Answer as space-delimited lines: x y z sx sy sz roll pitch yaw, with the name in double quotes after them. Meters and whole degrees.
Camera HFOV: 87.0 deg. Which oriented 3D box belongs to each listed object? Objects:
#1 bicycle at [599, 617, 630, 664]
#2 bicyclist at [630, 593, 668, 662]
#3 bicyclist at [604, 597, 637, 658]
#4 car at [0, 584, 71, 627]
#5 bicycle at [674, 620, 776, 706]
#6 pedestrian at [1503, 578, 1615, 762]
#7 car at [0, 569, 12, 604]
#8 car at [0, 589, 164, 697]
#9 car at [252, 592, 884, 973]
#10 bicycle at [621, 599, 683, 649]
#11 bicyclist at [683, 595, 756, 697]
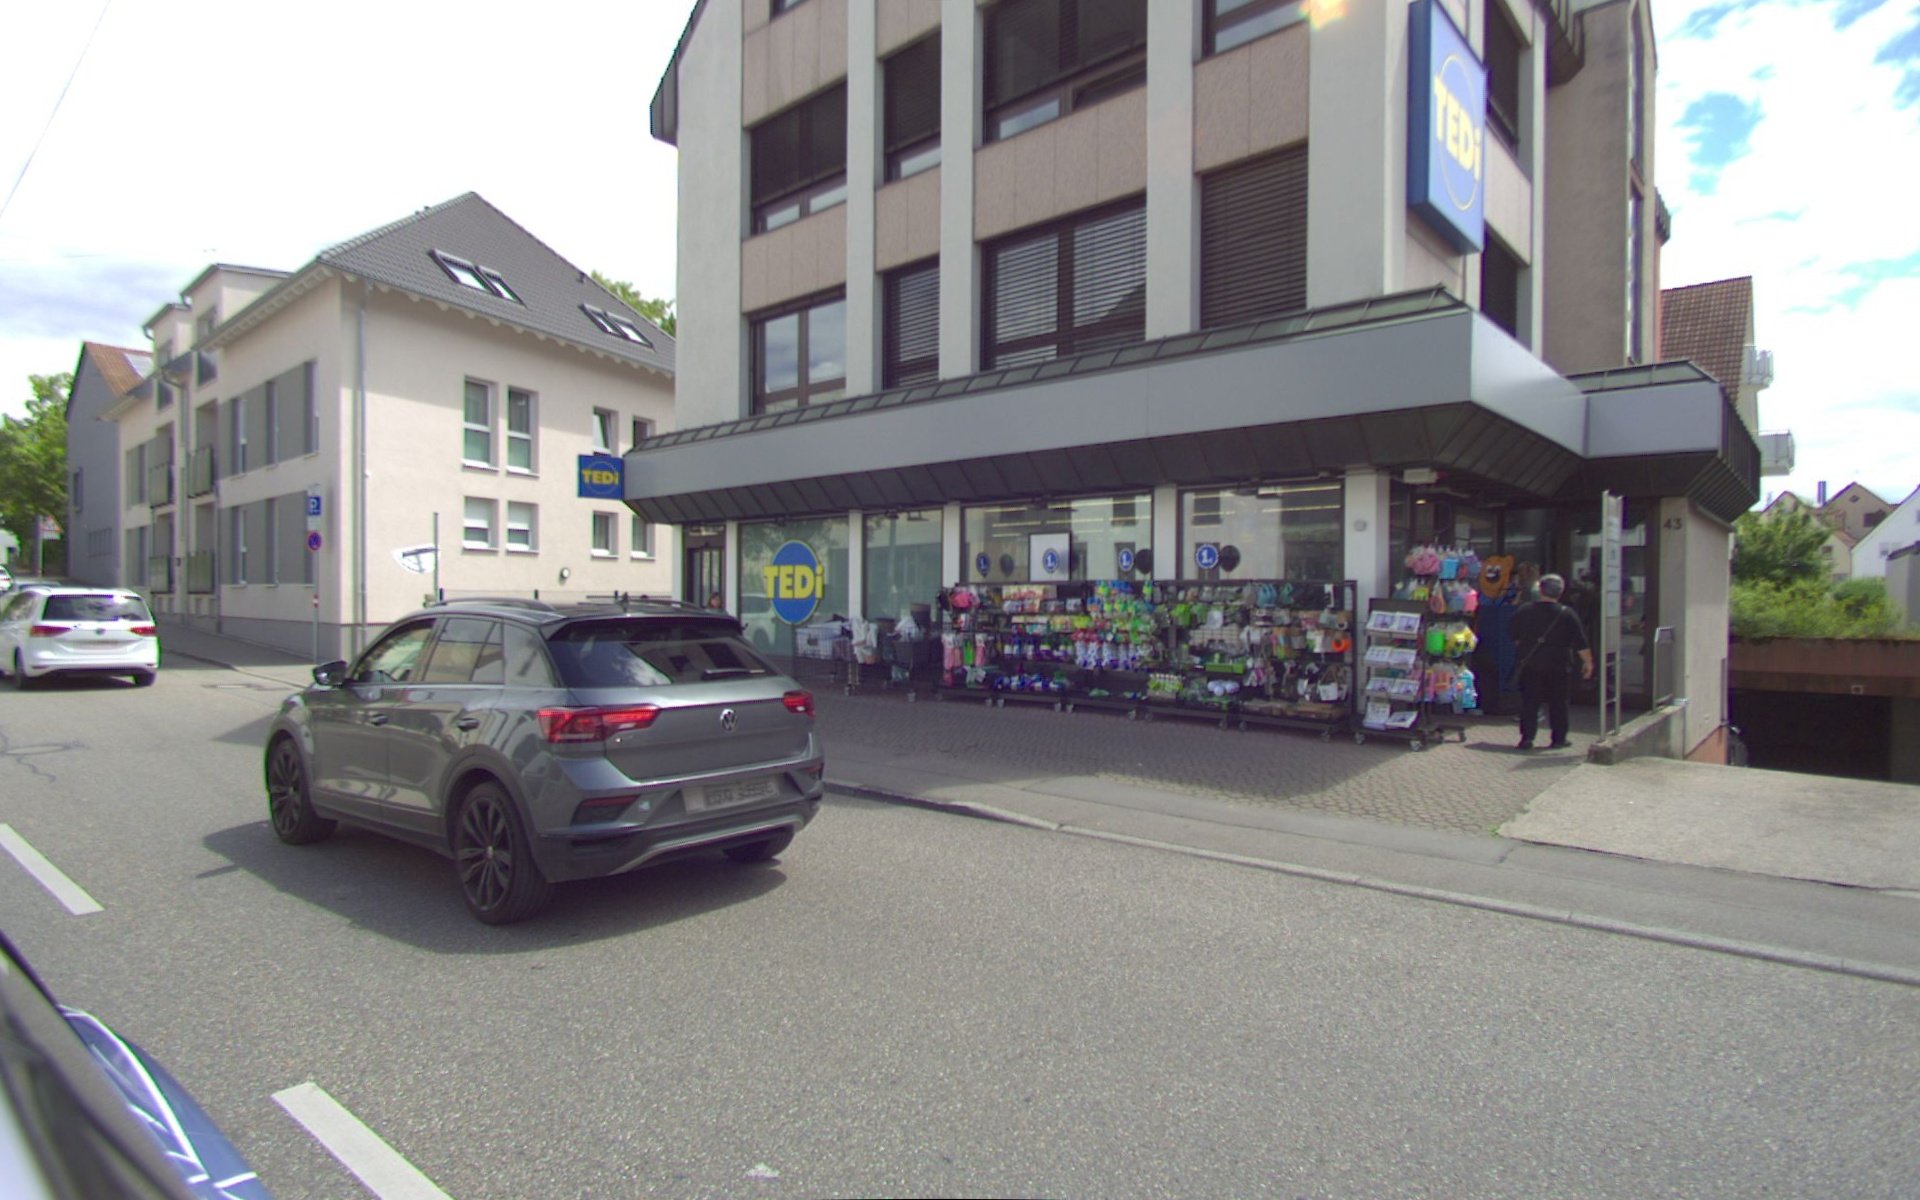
-7.162 0.826 21.034 0.451 0.924 1.594 -1 0 -13 "bicycle"
-6.269 0.556 20.393 0.582 1.376 0.423 -2 -1 9 "bicyclist"
-7.078 0.572 21.090 0.631 1.251 0.428 0 1 -15 "bicyclist"
-31.635 0.191 34.440 3.473 1.340 1.643 0 -2 42 "car"
-3.314 0.857 14.193 1.734 1.058 0.439 1 4 42 "bicycle"
5.434 0.595 9.186 0.771 1.570 0.566 2 2 38 "pedestrian"
-44.944 -0.669 46.436 4.066 1.499 1.714 4 1 42 "car"
-15.246 0.653 17.270 4.116 1.625 1.757 0 -1 40 "car"
-2.459 0.770 5.952 3.839 1.522 1.774 -1 -1 38 "car"
-6.250 0.472 20.616 0.549 0.961 1.687 -1 0 9 "bicycle"
-3.387 0.625 14.265 0.761 1.347 0.660 1 4 41 "bicyclist"
